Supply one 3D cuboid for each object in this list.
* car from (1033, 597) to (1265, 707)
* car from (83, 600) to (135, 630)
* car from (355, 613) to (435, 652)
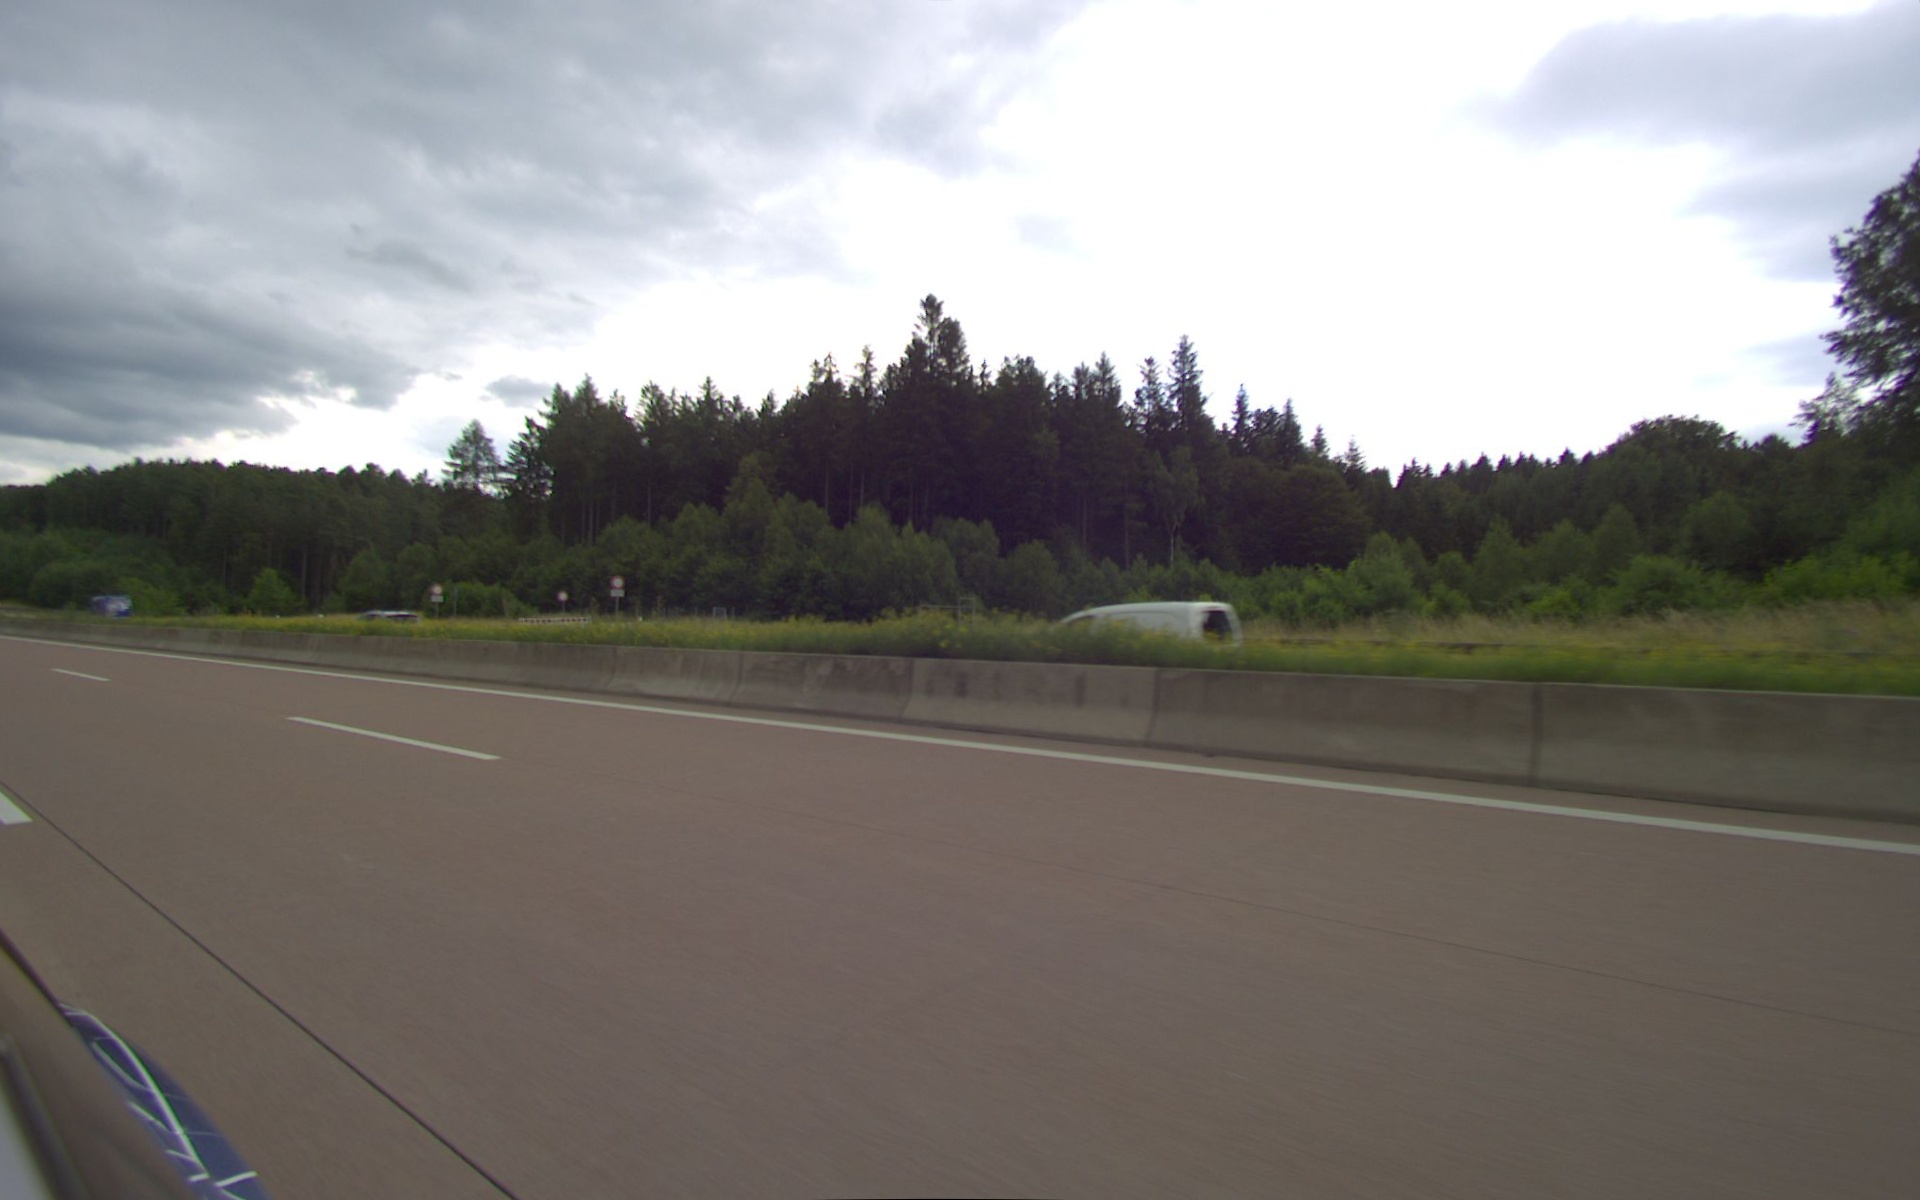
[{"bbox_3d":[3.019,0.749,16.453,3.410,1.579,1.551,0,1,40],"label":"car"},{"bbox_3d":[-66.325,1.180,78.834,6.033,2.259,1.974,-1,0,39],"label":"car"},{"bbox_3d":[-21.236,1.200,37.990,3.552,1.413,1.509,-1,-1,40],"label":"car"}]
